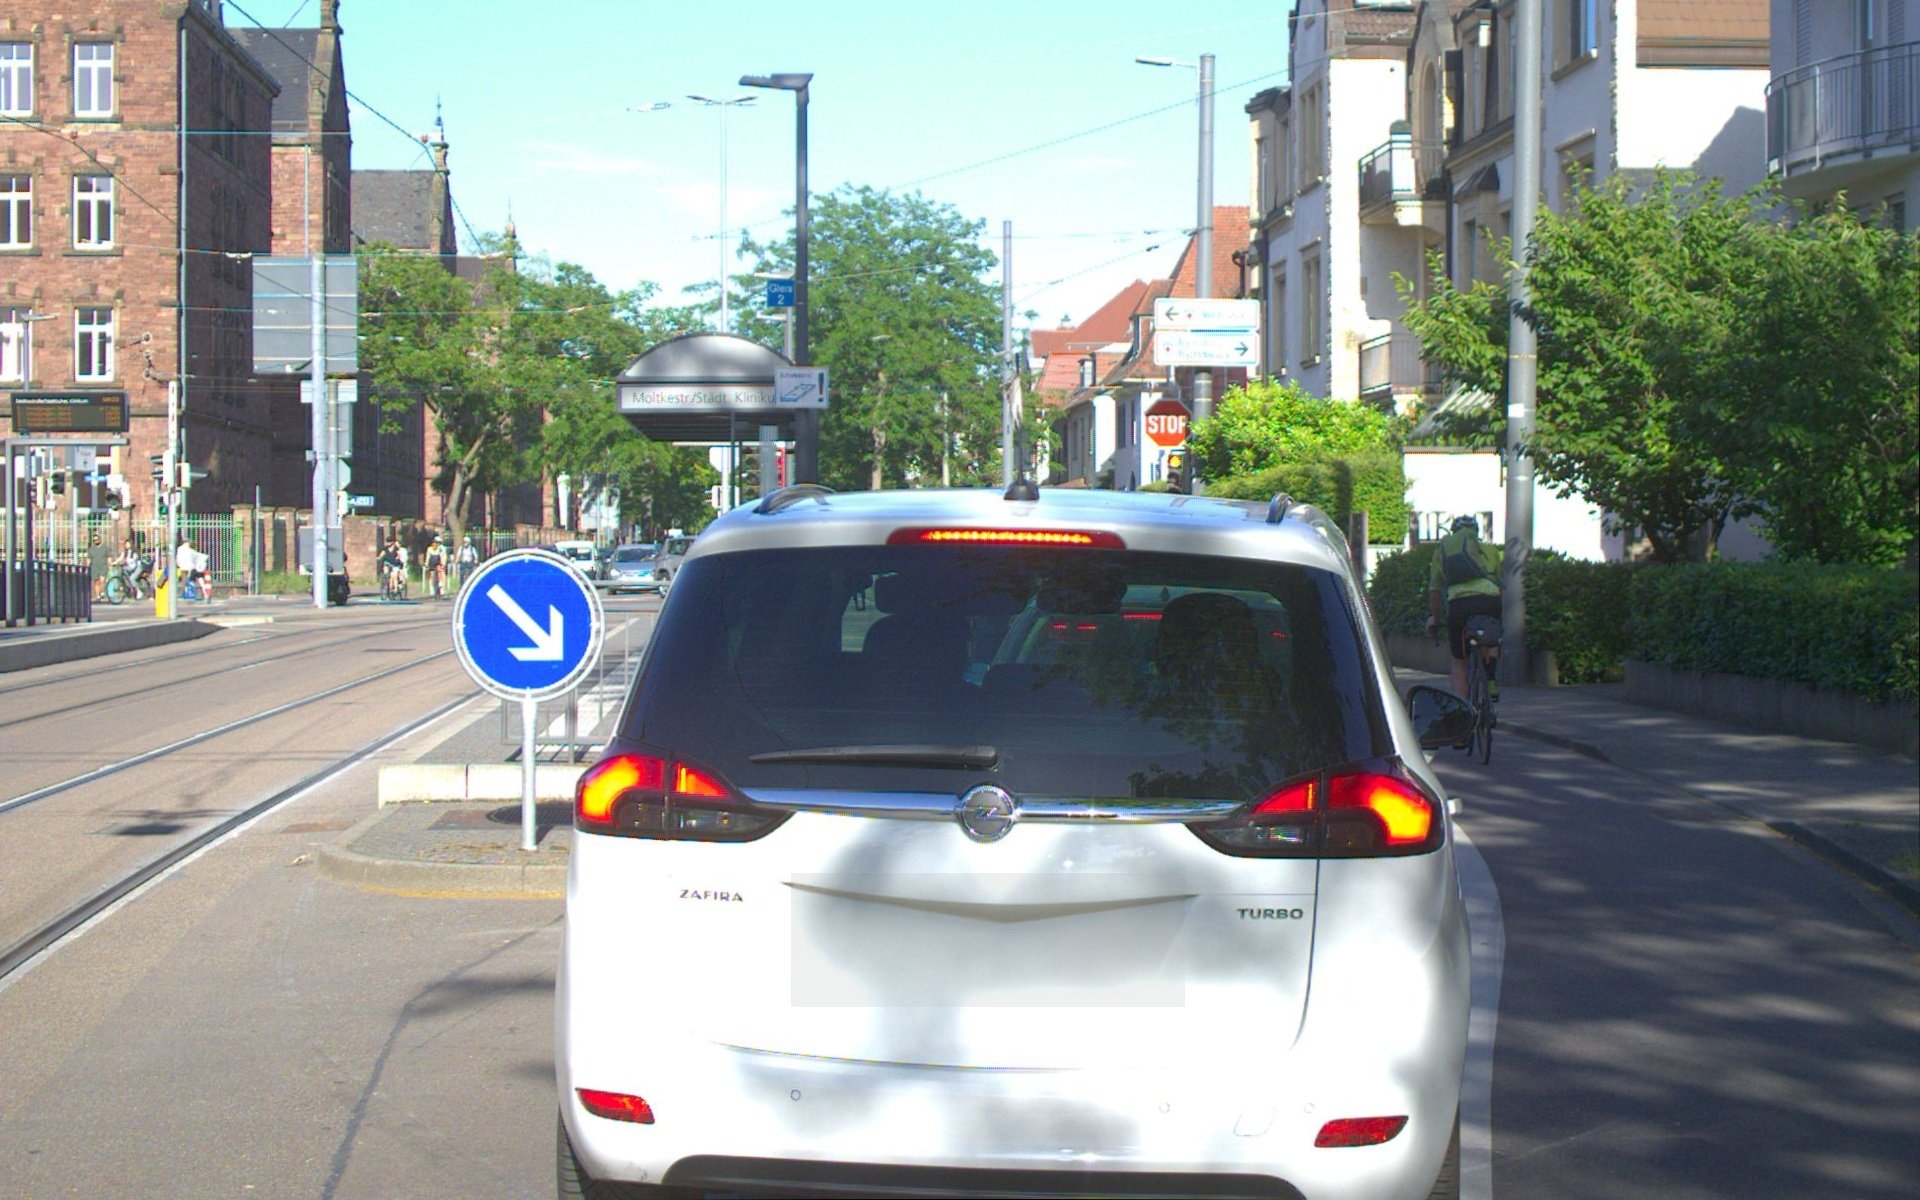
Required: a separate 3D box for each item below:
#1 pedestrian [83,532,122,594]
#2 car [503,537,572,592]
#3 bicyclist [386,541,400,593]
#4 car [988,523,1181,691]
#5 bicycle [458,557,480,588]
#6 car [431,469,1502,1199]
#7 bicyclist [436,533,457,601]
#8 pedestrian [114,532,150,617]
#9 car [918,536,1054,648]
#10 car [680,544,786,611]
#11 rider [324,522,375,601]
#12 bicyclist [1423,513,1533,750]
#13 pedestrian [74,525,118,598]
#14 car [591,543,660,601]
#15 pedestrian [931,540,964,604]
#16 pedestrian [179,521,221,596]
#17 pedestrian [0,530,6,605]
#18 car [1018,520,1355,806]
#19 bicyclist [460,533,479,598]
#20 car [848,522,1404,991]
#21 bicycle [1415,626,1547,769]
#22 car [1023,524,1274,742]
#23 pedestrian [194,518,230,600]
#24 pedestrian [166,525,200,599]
[{"bbox_3d":[-22.558,-0.967,90.460,0.655,1.606,0.710,1,0,32],"label":"pedestrian"},{"bbox_3d":[-13.697,-1.153,111.590,1.746,1.710,4.000,1,1,-1],"label":"car"},{"bbox_3d":[-15.761,-0.910,95.521,0.313,1.439,0.384,1,0,-1],"label":"bicyclist"},{"bbox_3d":[1.260,0.033,36.122,1.907,1.656,4.000,0,1,1],"label":"car"},{"bbox_3d":[-15.274,-0.857,107.030,0.487,0.968,1.405,1,1,0],"label":"bicycle"},{"bbox_3d":[0.226,0.560,8.082,1.907,1.656,3.999,0,1,7],"label":"car"},{"bbox_3d":[-15.202,-0.966,101.817,0.498,2.007,0.572,1,0,-1],"label":"bicyclist"},{"bbox_3d":[-19.823,-0.619,82.307,0.794,2.007,1.047,1,0,-15],"label":"pedestrian"},{"bbox_3d":[0.359,-0.156,53.100,1.907,1.656,4.001,0,1,-2],"label":"car"},{"bbox_3d":[-6.018,-0.616,90.611,1.746,1.710,4.001,1,1,-20],"label":"car"},{"bbox_3d":[-14.135,-0.891,79.640,0.795,1.776,2.488,1,1,-1],"label":"rider"},{"bbox_3d":[3.670,0.212,24.401,0.676,1.652,0.745,0,1,1],"label":"bicyclist"},{"bbox_3d":[-22.359,-0.997,88.978,0.808,1.894,0.743,1,0,14],"label":"pedestrian"},{"bbox_3d":[-10.295,-0.869,105.974,1.746,1.710,4.000,1,1,-1],"label":"car"},{"bbox_3d":[-0.365,-0.850,102.748,0.808,1.894,0.743,1,0,12],"label":"pedestrian"},{"bbox_3d":[-20.488,-1.113,92.691,0.720,2.007,0.796,1,0,35],"label":"pedestrian"},{"bbox_3d":[-22.947,-0.782,81.206,0.766,1.768,0.721,1,0,-17],"label":"pedestrian"},{"bbox_3d":[1.516,0.319,21.625,1.907,1.619,3.999,0,1,7],"label":"car"},{"bbox_3d":[-15.267,-1.081,107.060,0.488,2.007,0.502,1,0,-1],"label":"bicyclist"},{"bbox_3d":[0.793,0.494,13.785,1.907,1.592,3.999,0,1,7],"label":"car"},{"bbox_3d":[3.683,0.673,24.423,0.676,0.922,1.885,0,1,1],"label":"bicycle"},{"bbox_3d":[1.581,0.215,28.285,1.907,1.656,4.000,0,1,4],"label":"car"},{"bbox_3d":[-18.499,-1.009,84.991,0.794,2.007,0.721,1,0,-17],"label":"pedestrian"},{"bbox_3d":[-21.272,-1.038,94.095,0.690,2.007,0.617,1,0,9],"label":"pedestrian"}]
